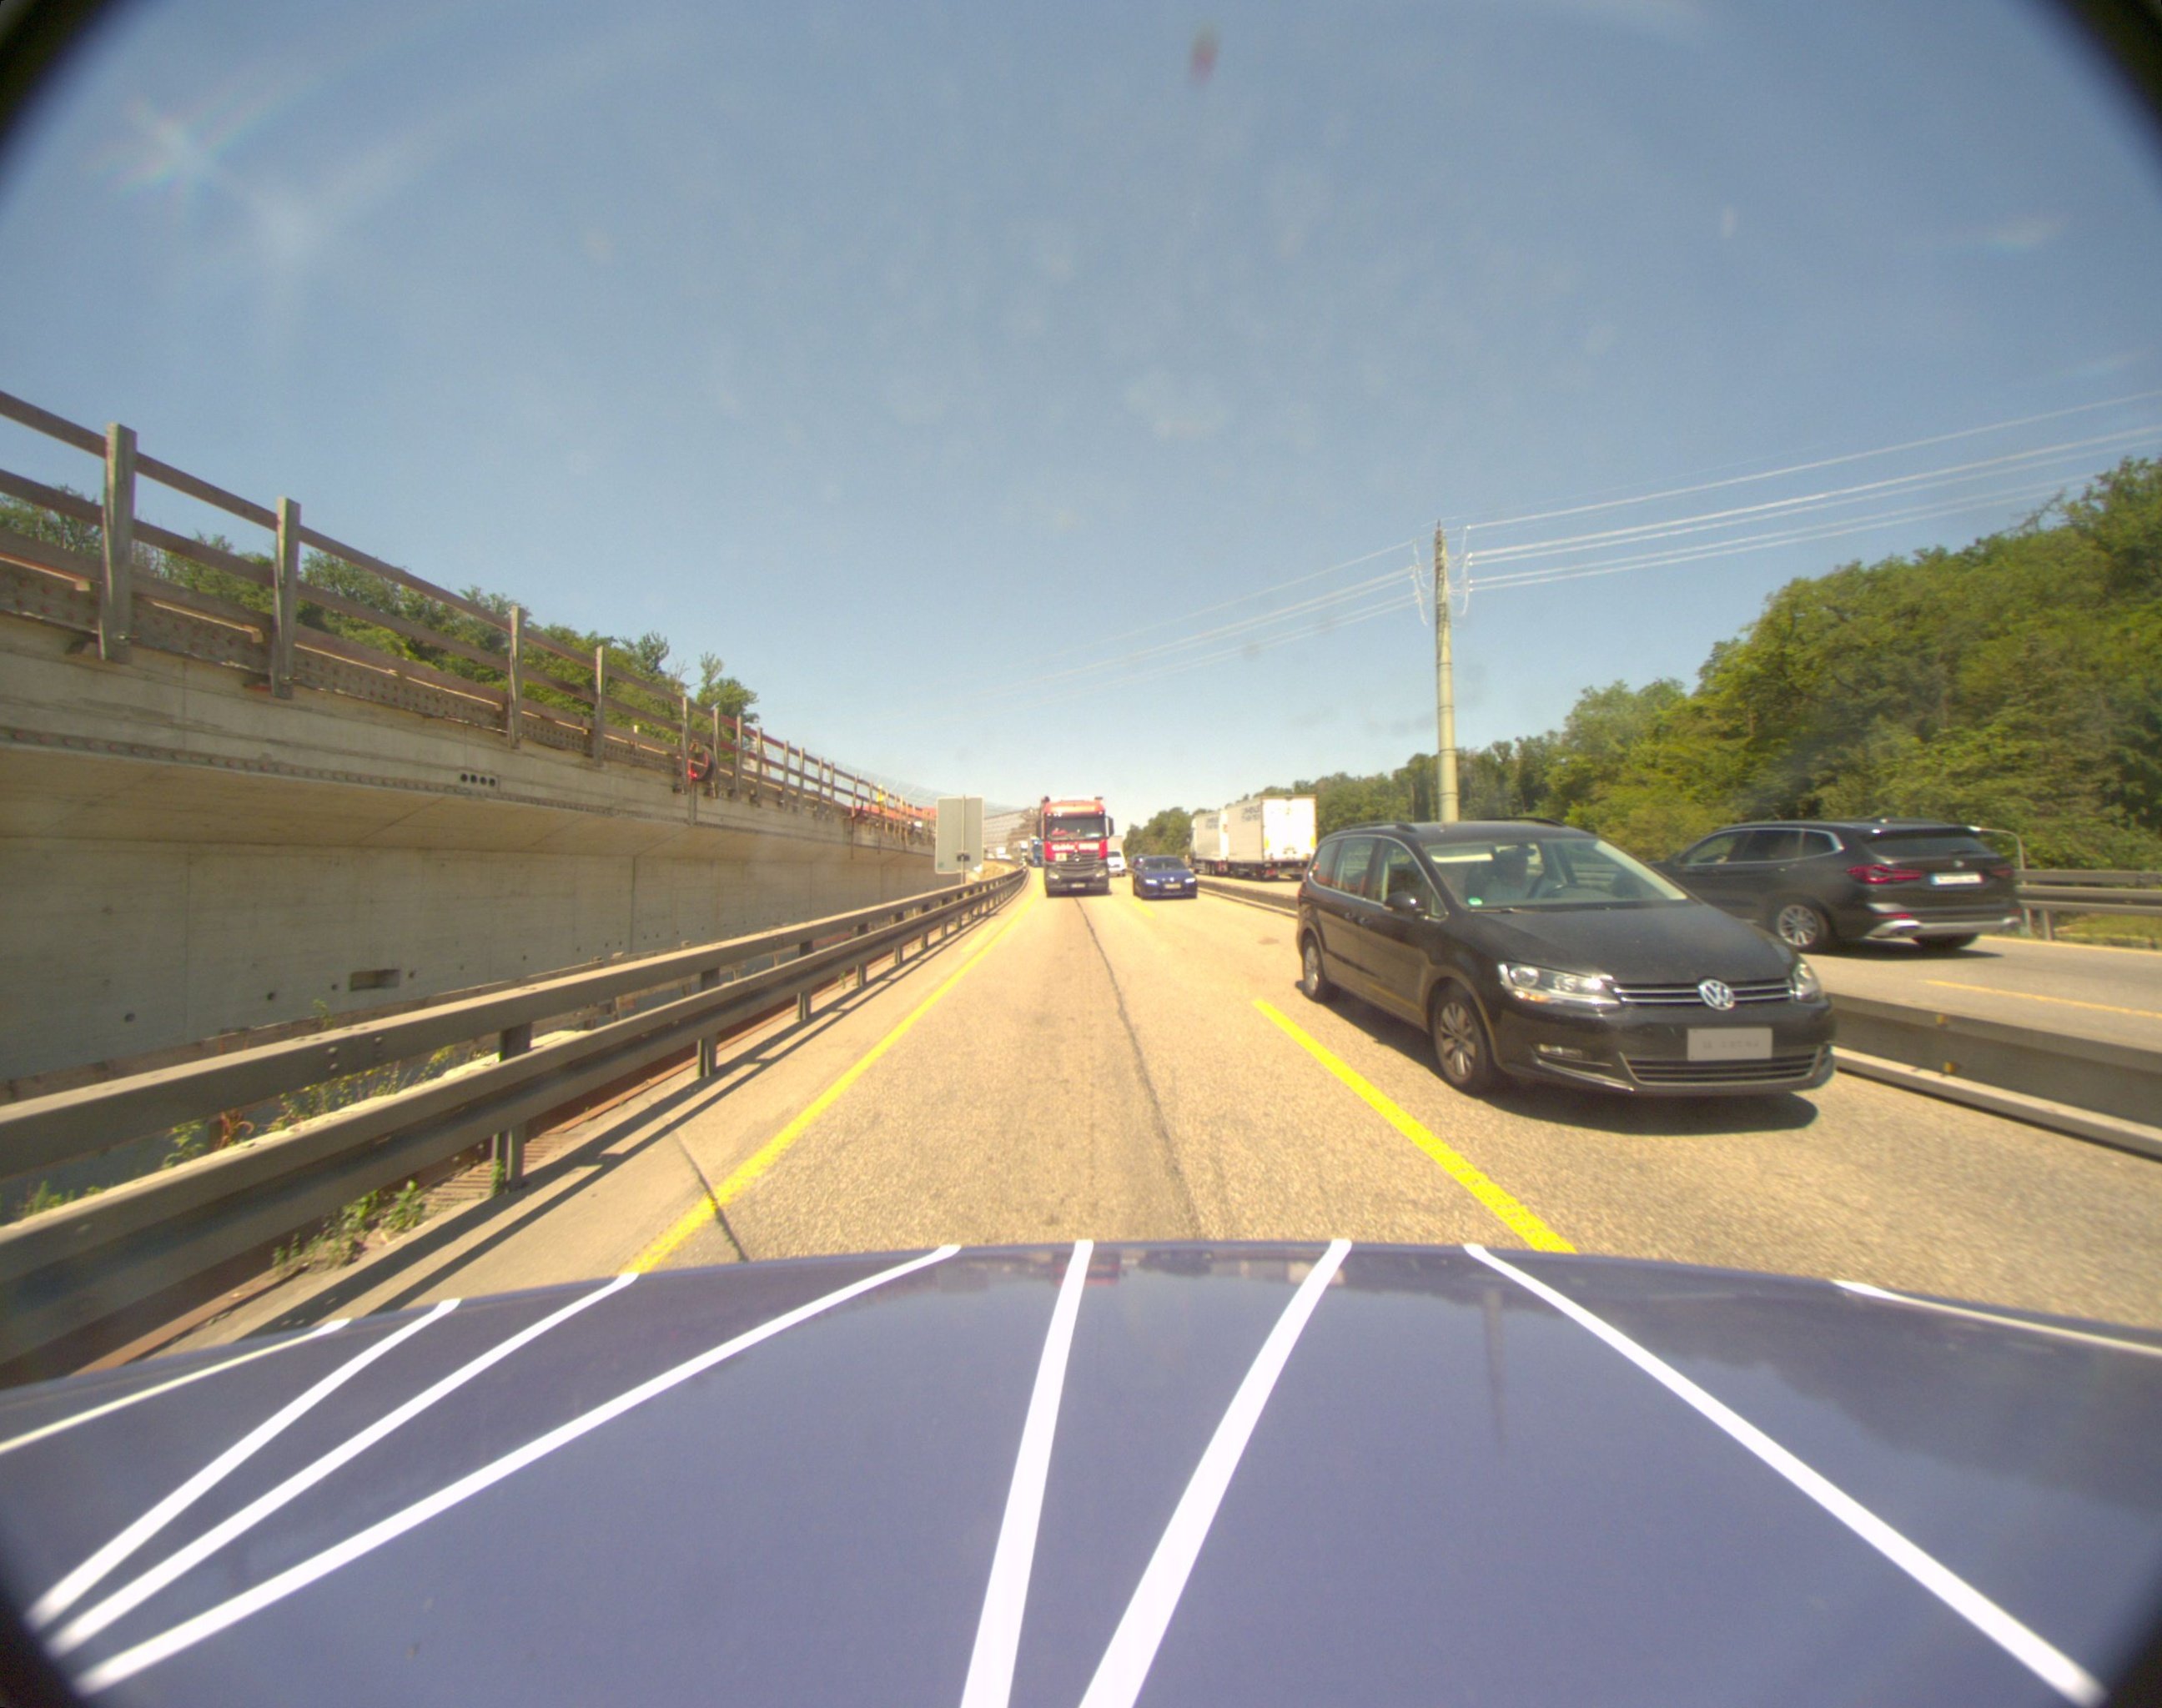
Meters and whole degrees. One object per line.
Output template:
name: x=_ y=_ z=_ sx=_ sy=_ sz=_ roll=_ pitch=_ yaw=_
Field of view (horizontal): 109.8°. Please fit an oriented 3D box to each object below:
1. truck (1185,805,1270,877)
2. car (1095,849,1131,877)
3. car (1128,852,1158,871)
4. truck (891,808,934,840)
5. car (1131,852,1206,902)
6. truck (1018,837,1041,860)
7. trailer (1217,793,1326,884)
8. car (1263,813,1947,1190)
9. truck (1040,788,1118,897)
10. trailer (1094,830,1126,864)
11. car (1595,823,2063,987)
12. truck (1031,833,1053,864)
truck: x=9.219 y=-0.738 z=49.364 sx=2.986 sy=4.138 sz=10.542 roll=-2 pitch=0 yaw=-2
car: x=2.207 y=0.601 z=53.674 sx=1.947 sy=1.858 sz=5.221 roll=-2 pitch=0 yaw=-3
car: x=5.180 y=0.595 z=63.794 sx=1.787 sy=1.470 sz=4.619 roll=-2 pitch=0 yaw=-4
truck: x=-21.117 y=-3.708 z=95.498 sx=2.714 sy=3.672 sz=5.720 roll=-1 pitch=-2 yaw=18
car: x=2.960 y=0.753 z=26.693 sx=1.896 sy=1.546 sz=4.785 roll=-2 pitch=0 yaw=-2
truck: x=-9.688 y=-1.052 z=143.047 sx=2.912 sy=4.208 sz=9.230 roll=-2 pitch=1 yaw=-12
trailer: x=9.616 y=-0.740 z=39.609 sx=3.012 sy=4.141 sz=9.014 roll=-2 pitch=0 yaw=-2
car: x=3.061 y=0.688 z=6.164 sx=1.861 sy=1.695 sz=5.303 roll=-2 pitch=0 yaw=0
truck: x=-0.268 y=-0.527 z=33.491 sx=2.799 sy=3.986 sz=10.425 roll=-2 pitch=1 yaw=-2
trailer: x=4.251 y=-0.972 z=114.175 sx=2.842 sy=4.614 sz=14.574 roll=-2 pitch=0 yaw=-5
car: x=9.694 y=0.502 z=10.578 sx=1.910 sy=1.732 sz=4.661 roll=-2 pitch=1 yaw=0
truck: x=-5.469 y=-0.747 z=105.338 sx=2.672 sy=3.985 sz=10.425 roll=-2 pitch=0 yaw=-5
